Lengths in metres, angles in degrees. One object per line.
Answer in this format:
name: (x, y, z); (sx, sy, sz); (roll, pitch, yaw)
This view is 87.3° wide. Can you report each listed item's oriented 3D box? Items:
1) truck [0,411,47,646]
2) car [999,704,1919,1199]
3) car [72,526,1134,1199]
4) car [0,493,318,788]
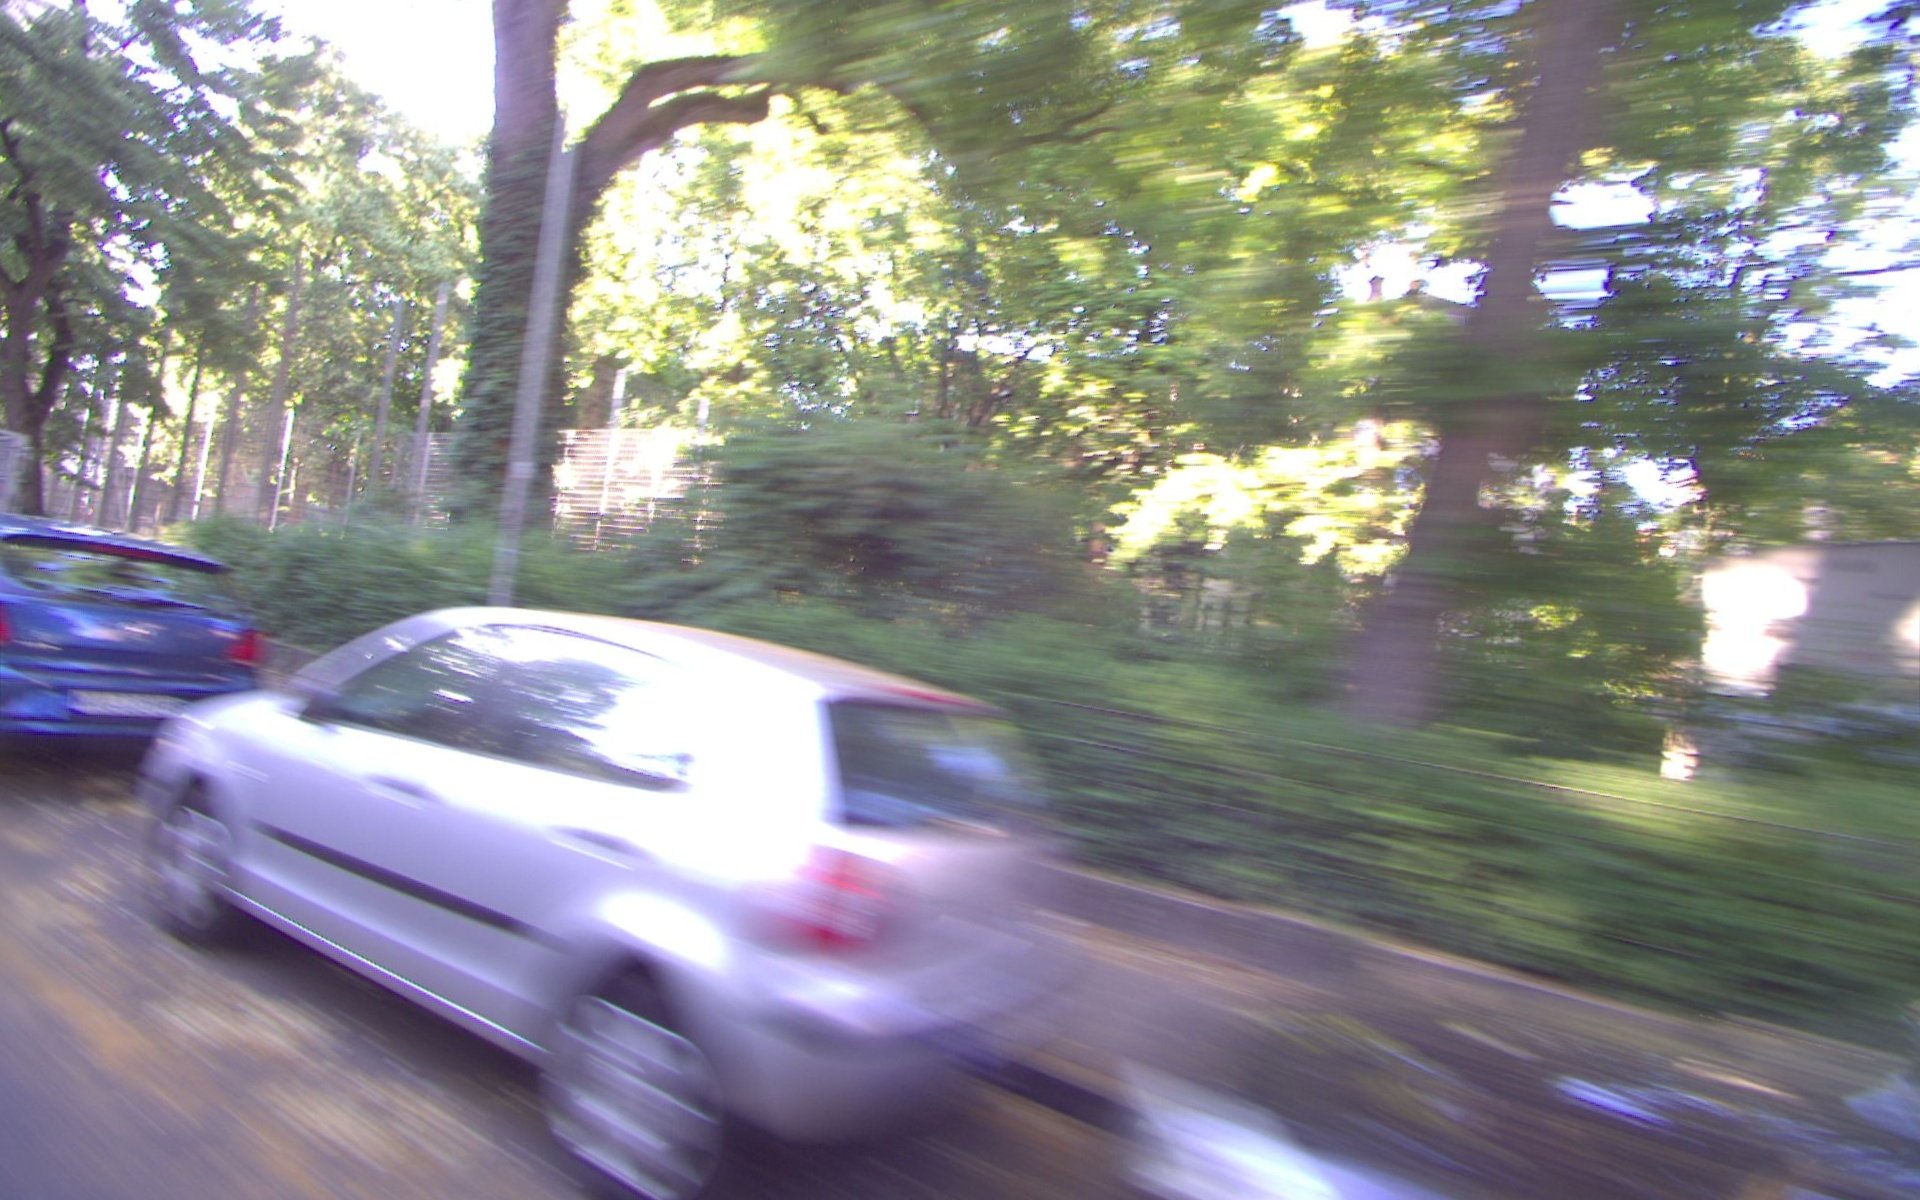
truck: (-13.278, -1.173, 11.637); (6.824, 2.412, 2.300); (7, -3, 35)
car: (2.282, 1.190, 1.342); (4.195, 1.406, 1.677); (7, -3, 32)
car: (-1.516, 0.717, 3.879); (3.829, 1.474, 1.677); (7, -3, 32)
car: (-6.099, 0.101, 6.553); (3.830, 1.474, 1.676); (7, -3, 34)
